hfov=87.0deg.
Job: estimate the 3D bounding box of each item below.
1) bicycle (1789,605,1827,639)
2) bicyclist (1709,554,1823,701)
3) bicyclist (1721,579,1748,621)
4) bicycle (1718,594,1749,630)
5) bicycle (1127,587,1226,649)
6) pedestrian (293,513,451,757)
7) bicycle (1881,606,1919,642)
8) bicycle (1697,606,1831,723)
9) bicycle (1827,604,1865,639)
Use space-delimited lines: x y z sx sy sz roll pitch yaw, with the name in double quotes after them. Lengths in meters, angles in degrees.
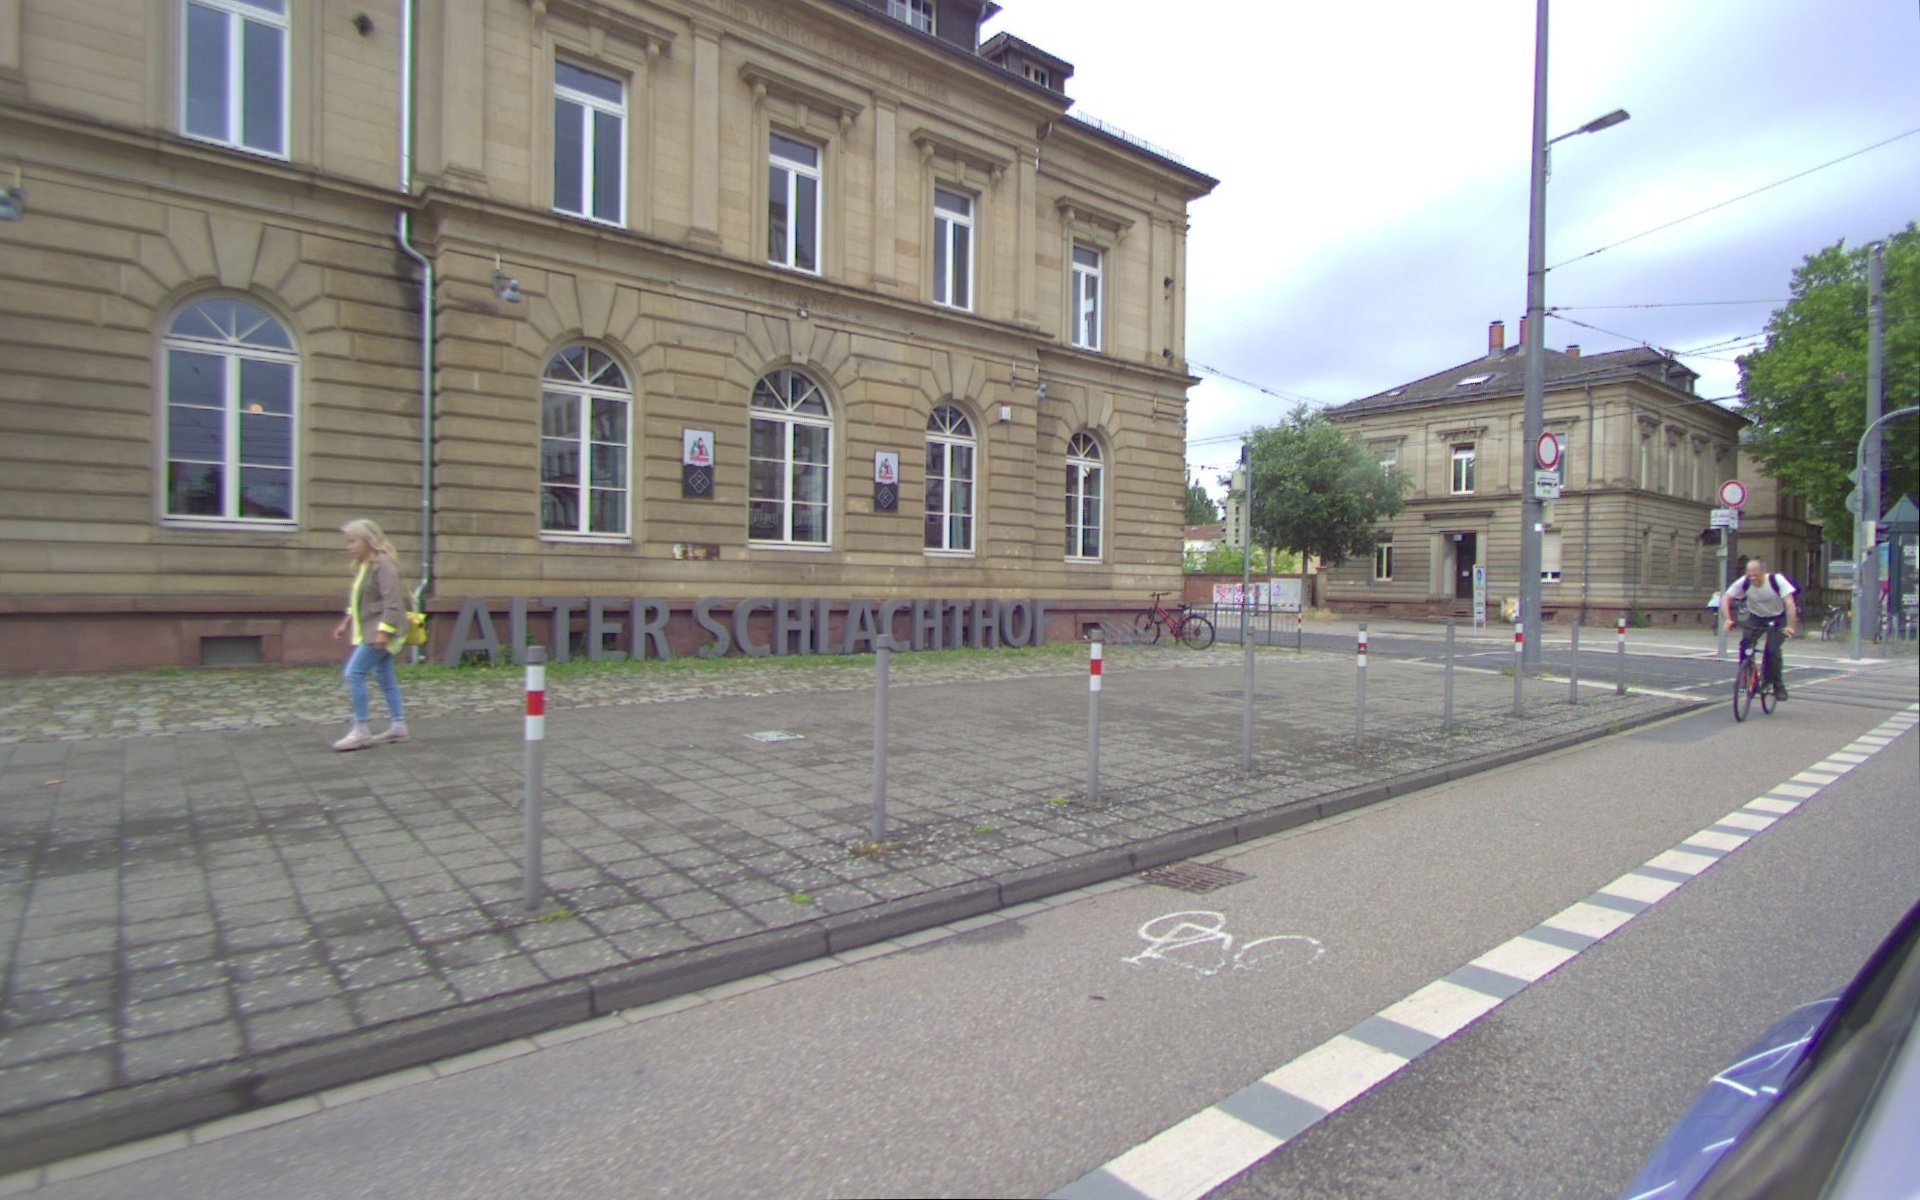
28.441 0.716 33.935 1.669 1.081 0.718 -1 2 -41 "bicycle"
9.409 0.284 11.811 1.169 1.620 0.812 -1 1 -40 "bicyclist"
26.670 -0.018 34.853 0.691 1.417 0.804 1 1 40 "bicyclist"
26.687 0.395 34.899 0.674 1.179 2.082 1 2 42 "bicycle"
4.387 0.342 20.573 1.845 1.091 0.541 5 3 34 "bicycle"
-4.384 0.233 7.599 0.979 1.699 0.722 0 1 -29 "pedestrian"
29.896 0.749 32.156 1.669 1.081 0.718 -1 2 -41 "bicycle"
9.419 0.697 11.824 2.237 1.184 0.814 -1 2 -41 "bicycle"
29.021 0.685 33.142 1.669 1.081 0.718 -1 2 -41 "bicycle"
